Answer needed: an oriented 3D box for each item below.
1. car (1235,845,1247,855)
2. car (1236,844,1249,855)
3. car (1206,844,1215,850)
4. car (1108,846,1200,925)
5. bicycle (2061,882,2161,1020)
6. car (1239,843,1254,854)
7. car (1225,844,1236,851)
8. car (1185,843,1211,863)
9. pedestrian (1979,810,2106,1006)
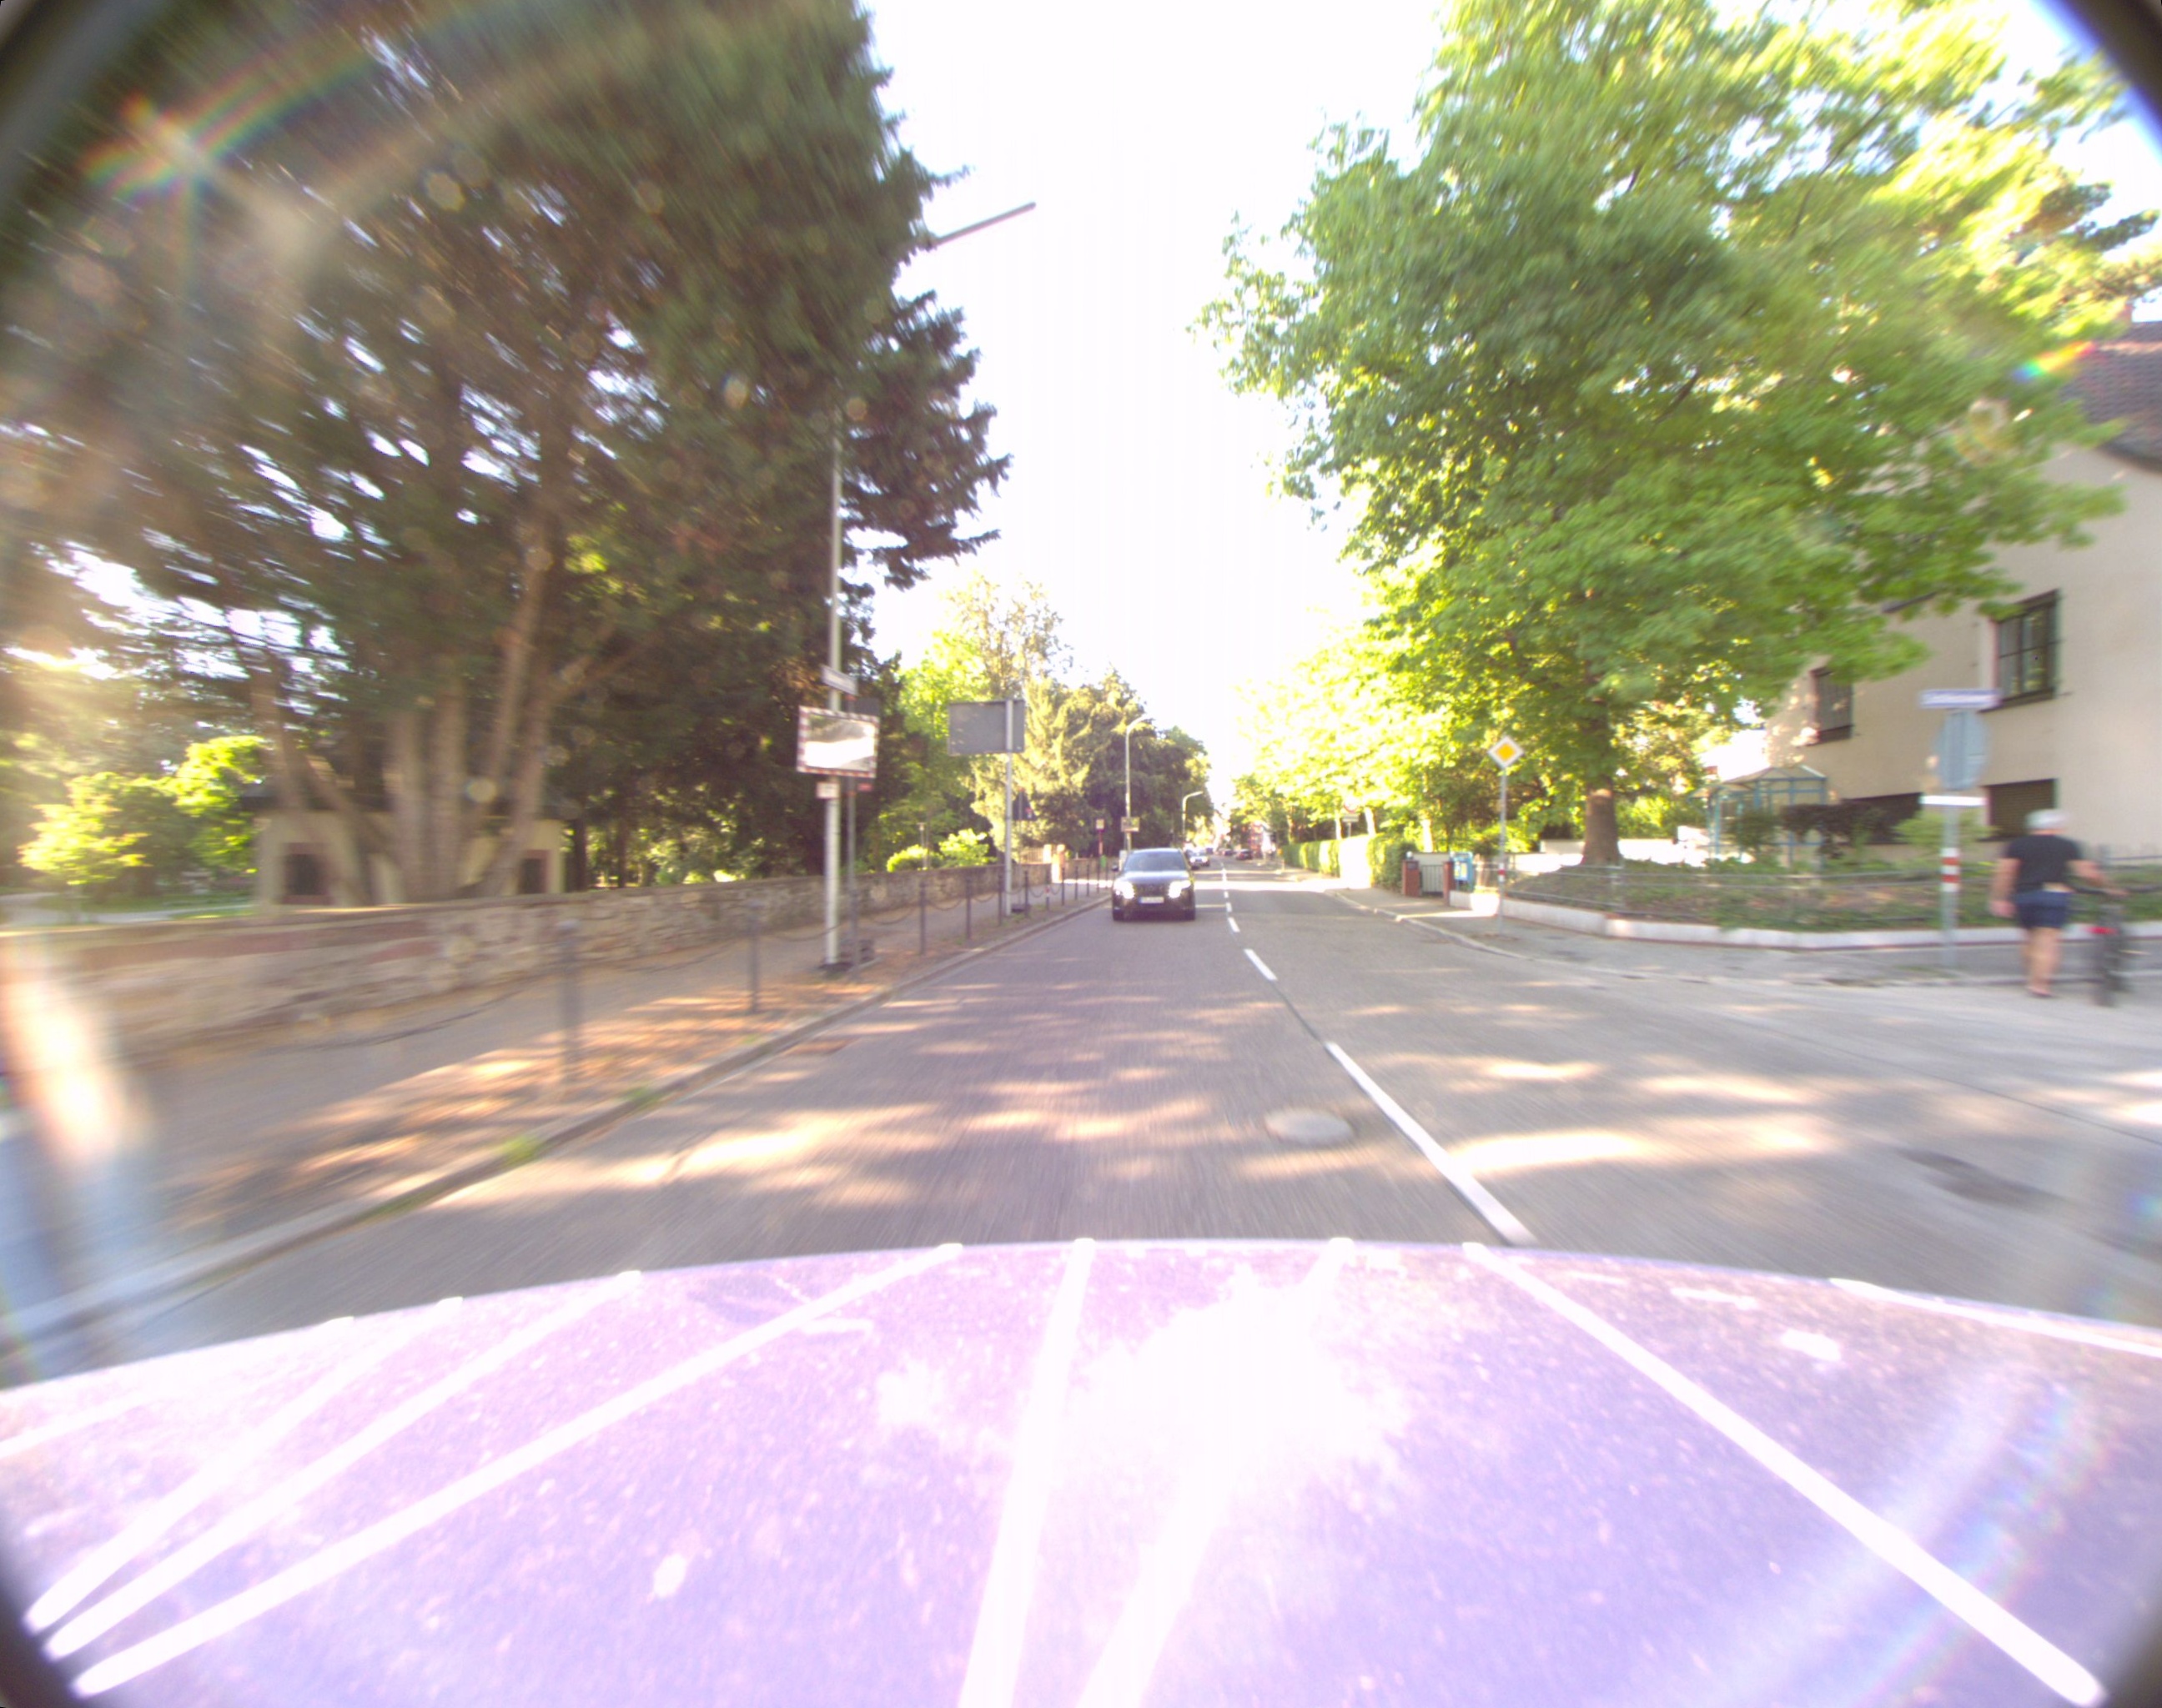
[{"bbox_3d":[24.192,-0.644,114.981,1.626,1.426,3.561,-2,1,8],"label":"car"},{"bbox_3d":[23.394,-0.609,109.937,1.626,1.538,3.324,0,1,9],"label":"car"},{"bbox_3d":[34.011,-1.890,199.564,1.823,1.375,3.936,3,2,5],"label":"car"},{"bbox_3d":[1.760,0.664,18.353,1.935,1.676,4.433,0,0,6],"label":"car"},{"bbox_3d":[9.490,0.812,6.774,1.820,1.037,0.560,-2,-1,-27],"label":"bicycle"},{"bbox_3d":[22.835,-0.745,104.778,1.688,1.425,3.618,-3,0,9],"label":"car"},{"bbox_3d":[31.597,-1.386,160.818,1.823,1.375,3.936,3,2,5],"label":"car"},{"bbox_3d":[10.561,-0.130,68.554,1.997,1.630,4.003,-2,1,12],"label":"car"},{"bbox_3d":[9.503,0.497,7.514,0.944,1.815,0.553,-2,-1,-28],"label":"pedestrian"}]
